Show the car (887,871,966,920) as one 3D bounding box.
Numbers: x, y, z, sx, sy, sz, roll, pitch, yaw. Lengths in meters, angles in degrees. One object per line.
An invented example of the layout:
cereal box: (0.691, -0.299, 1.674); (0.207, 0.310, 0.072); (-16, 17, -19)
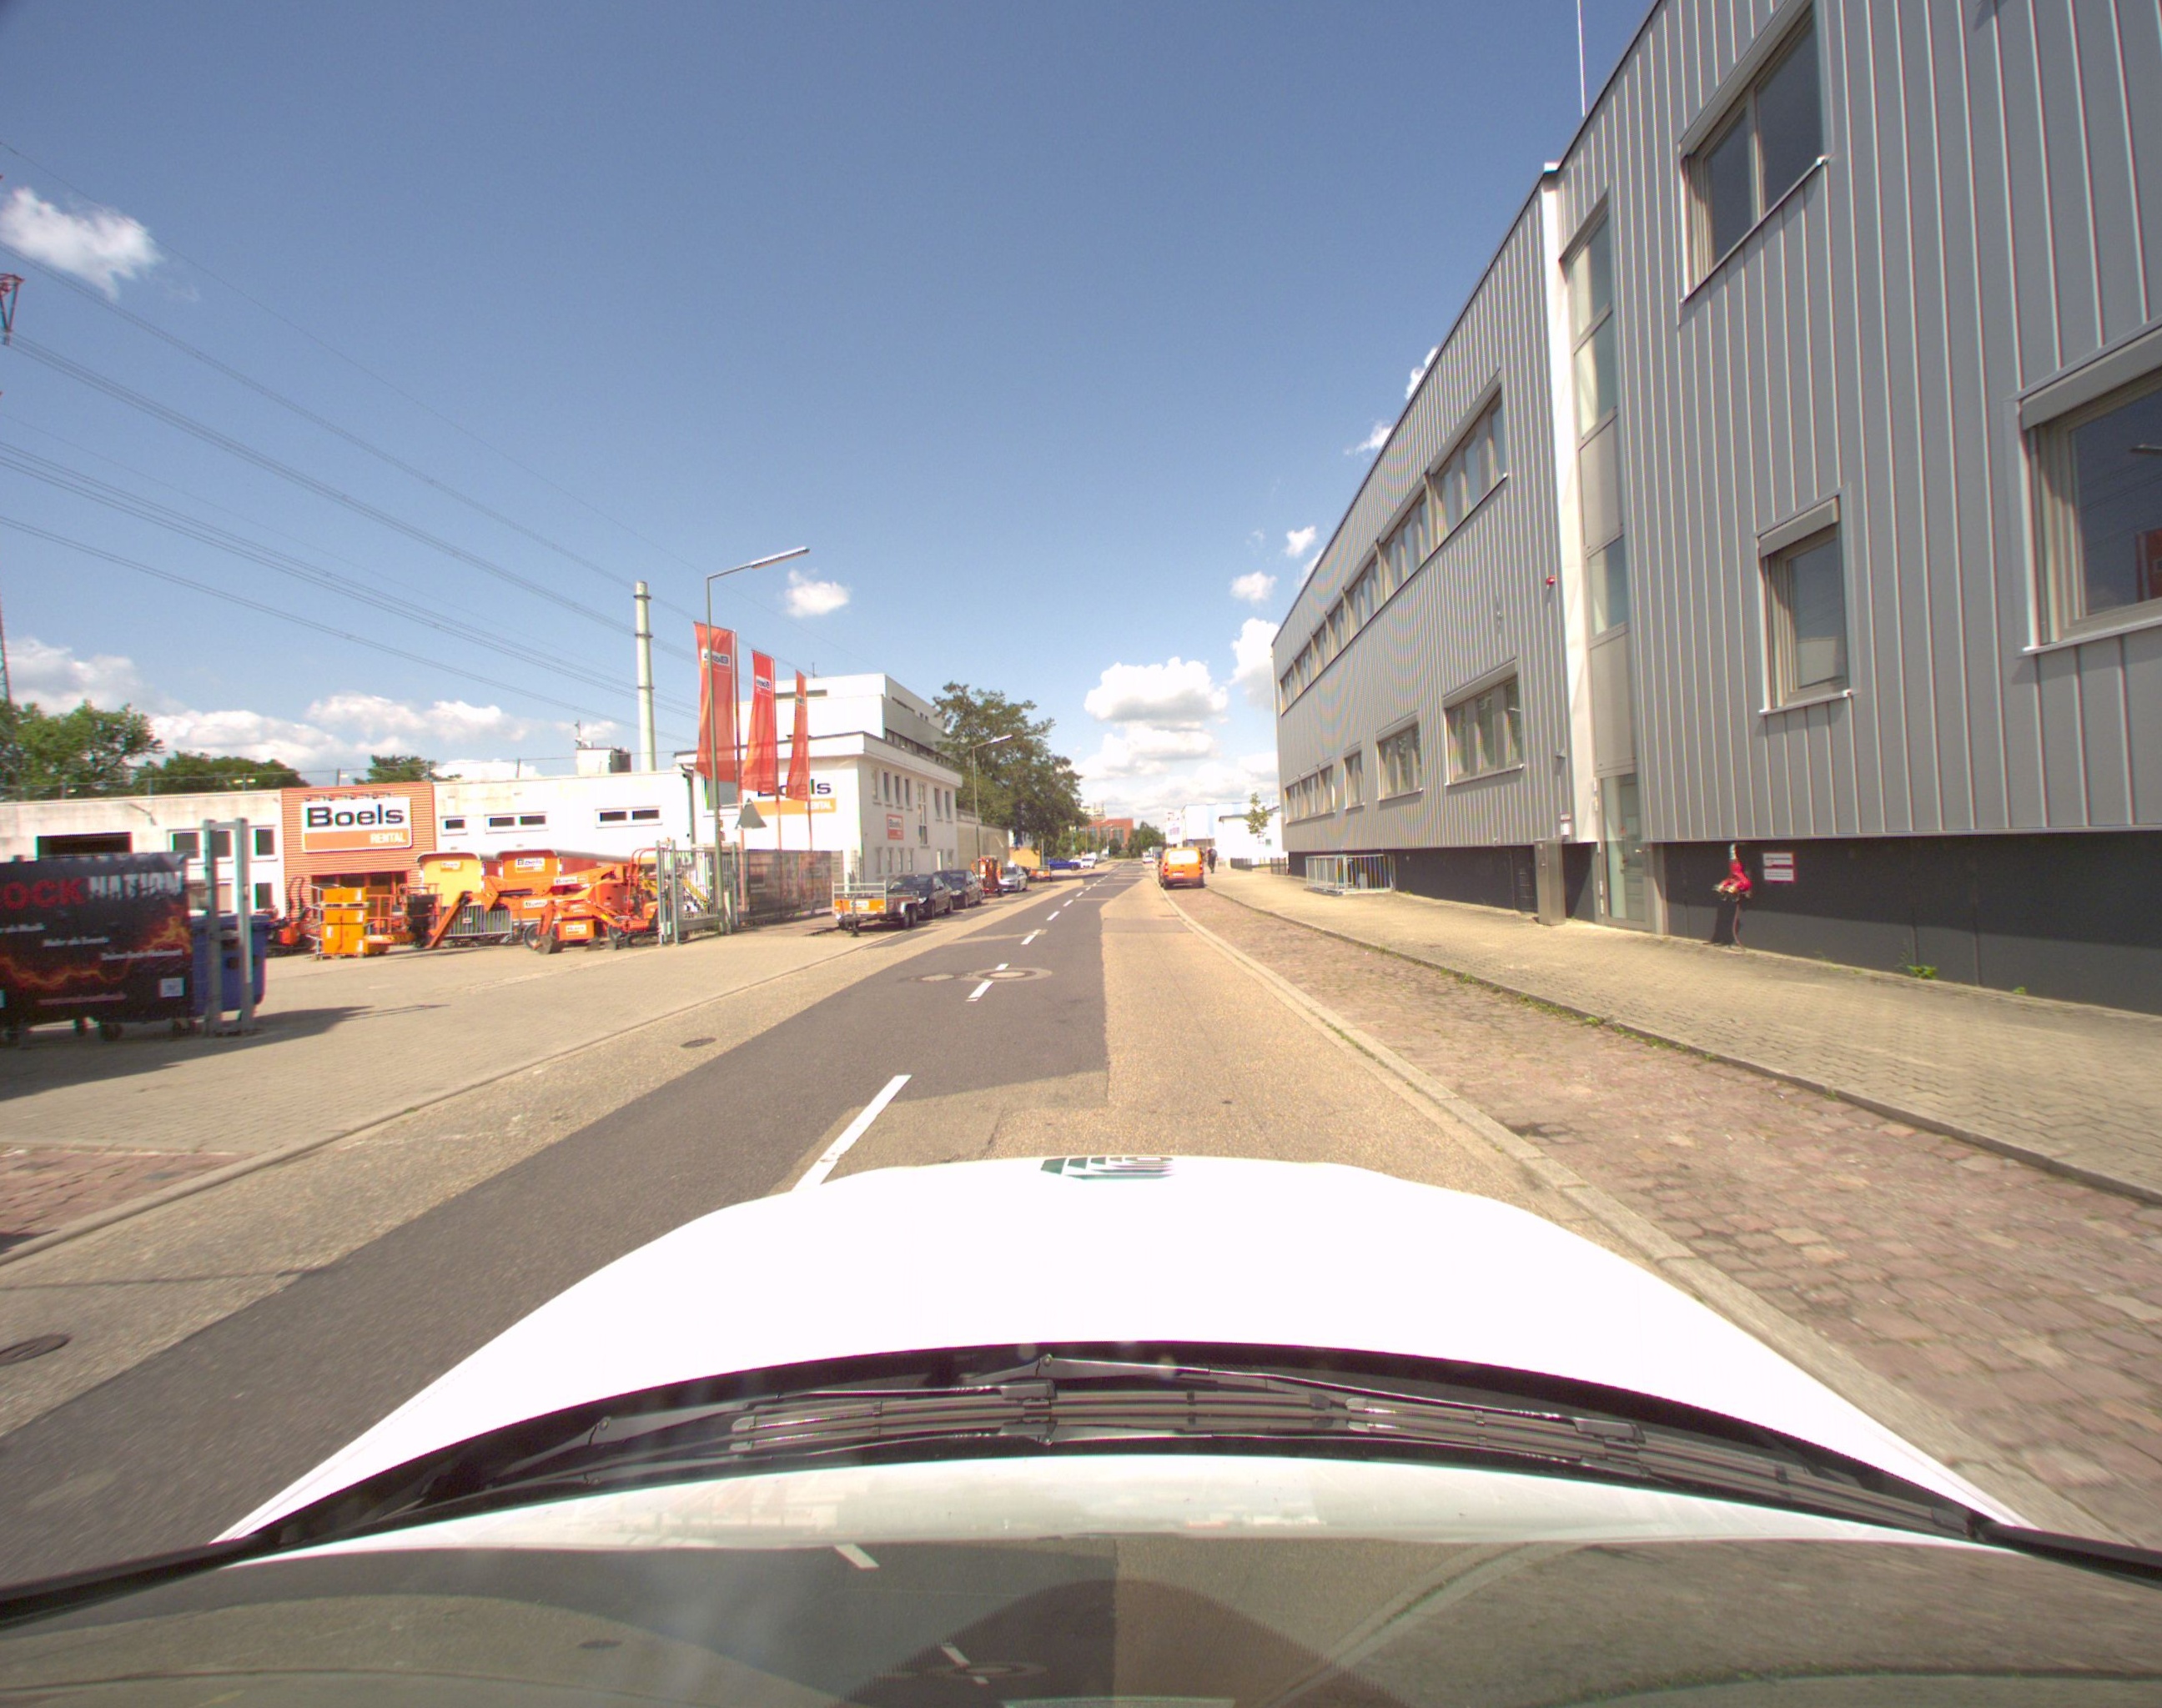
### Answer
car: (-4.919, 1.279, 26.390); (1.666, 1.376, 3.886); (-1, 0, 2)

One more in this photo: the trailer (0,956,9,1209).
trailer: (-6.385, 1.071, 0.820); (2.441, 1.164, 6.057); (-1, 0, 3)

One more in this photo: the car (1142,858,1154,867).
car: (11.587, 1.461, 140.799); (1.859, 1.520, 4.602); (-3, -1, 3)

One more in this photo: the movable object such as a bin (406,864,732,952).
movable object such as a bin: (-14.020, 1.440, 22.697); (7.583, 2.005, 1.903); (-2, 0, -4)

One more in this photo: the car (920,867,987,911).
car: (-4.713, 1.262, 30.724); (1.666, 1.455, 4.226); (-1, 0, 2)

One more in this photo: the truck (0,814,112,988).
truck: (-22.304, 1.012, 14.997); (5.545, 3.143, 2.495); (-4, -1, -3)

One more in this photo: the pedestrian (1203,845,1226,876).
pedestrian: (8.967, 0.442, 54.708); (0.993, 1.951, 1.084); (-4, -1, -19)

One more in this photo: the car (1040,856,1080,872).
car: (-2.580, 1.250, 99.559); (4.686, 1.593, 1.909); (-4, 0, -10)

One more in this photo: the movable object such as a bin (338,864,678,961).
movable object such as a bin: (-14.038, 1.396, 20.315); (6.847, 2.005, 1.903); (-2, 0, -4)

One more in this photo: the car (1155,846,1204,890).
car: (4.518, 0.642, 37.962); (1.865, 1.892, 4.455); (1, 0, 2)

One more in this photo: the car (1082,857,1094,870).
car: (0.948, 1.263, 111.441); (1.680, 1.664, 4.000); (-2, 0, 0)

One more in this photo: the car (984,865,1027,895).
car: (-3.929, 1.319, 43.017); (1.666, 1.455, 4.516); (-1, 0, 2)

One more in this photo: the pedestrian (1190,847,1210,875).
pedestrian: (7.911, 0.453, 54.023); (0.859, 1.807, 0.999); (-4, -1, -19)

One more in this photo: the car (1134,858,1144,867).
car: (10.882, 1.567, 153.510); (1.827, 1.520, 4.465); (-3, -1, 3)

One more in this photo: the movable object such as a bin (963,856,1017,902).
movable object such as a bin: (-4.126, 1.079, 37.564); (1.607, 1.919, 5.142); (1, 0, 3)

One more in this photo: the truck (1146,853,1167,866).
truck: (24.048, 1.807, 260.283); (2.298, 3.567, 9.428); (-2, 1, 34)

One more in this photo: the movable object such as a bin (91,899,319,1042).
movable object such as a bin: (-10.196, 1.310, 9.558); (1.312, 1.427, 1.188); (-4, -1, -2)

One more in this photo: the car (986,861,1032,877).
car: (-6.653, 1.409, 75.673); (3.972, 1.362, 1.798); (-1, -1, 7)

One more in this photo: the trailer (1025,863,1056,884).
trailer: (-2.920, 1.389, 59.666); (1.759, 1.439, 4.340); (-1, 0, 4)

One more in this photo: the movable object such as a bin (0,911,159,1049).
movable object such as a bin: (-12.220, 1.465, 9.601); (1.312, 1.427, 1.151); (-3, -1, -2)

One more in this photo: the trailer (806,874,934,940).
trailer: (-5.237, 1.259, 20.943); (1.760, 1.376, 5.053); (-1, 0, 2)
